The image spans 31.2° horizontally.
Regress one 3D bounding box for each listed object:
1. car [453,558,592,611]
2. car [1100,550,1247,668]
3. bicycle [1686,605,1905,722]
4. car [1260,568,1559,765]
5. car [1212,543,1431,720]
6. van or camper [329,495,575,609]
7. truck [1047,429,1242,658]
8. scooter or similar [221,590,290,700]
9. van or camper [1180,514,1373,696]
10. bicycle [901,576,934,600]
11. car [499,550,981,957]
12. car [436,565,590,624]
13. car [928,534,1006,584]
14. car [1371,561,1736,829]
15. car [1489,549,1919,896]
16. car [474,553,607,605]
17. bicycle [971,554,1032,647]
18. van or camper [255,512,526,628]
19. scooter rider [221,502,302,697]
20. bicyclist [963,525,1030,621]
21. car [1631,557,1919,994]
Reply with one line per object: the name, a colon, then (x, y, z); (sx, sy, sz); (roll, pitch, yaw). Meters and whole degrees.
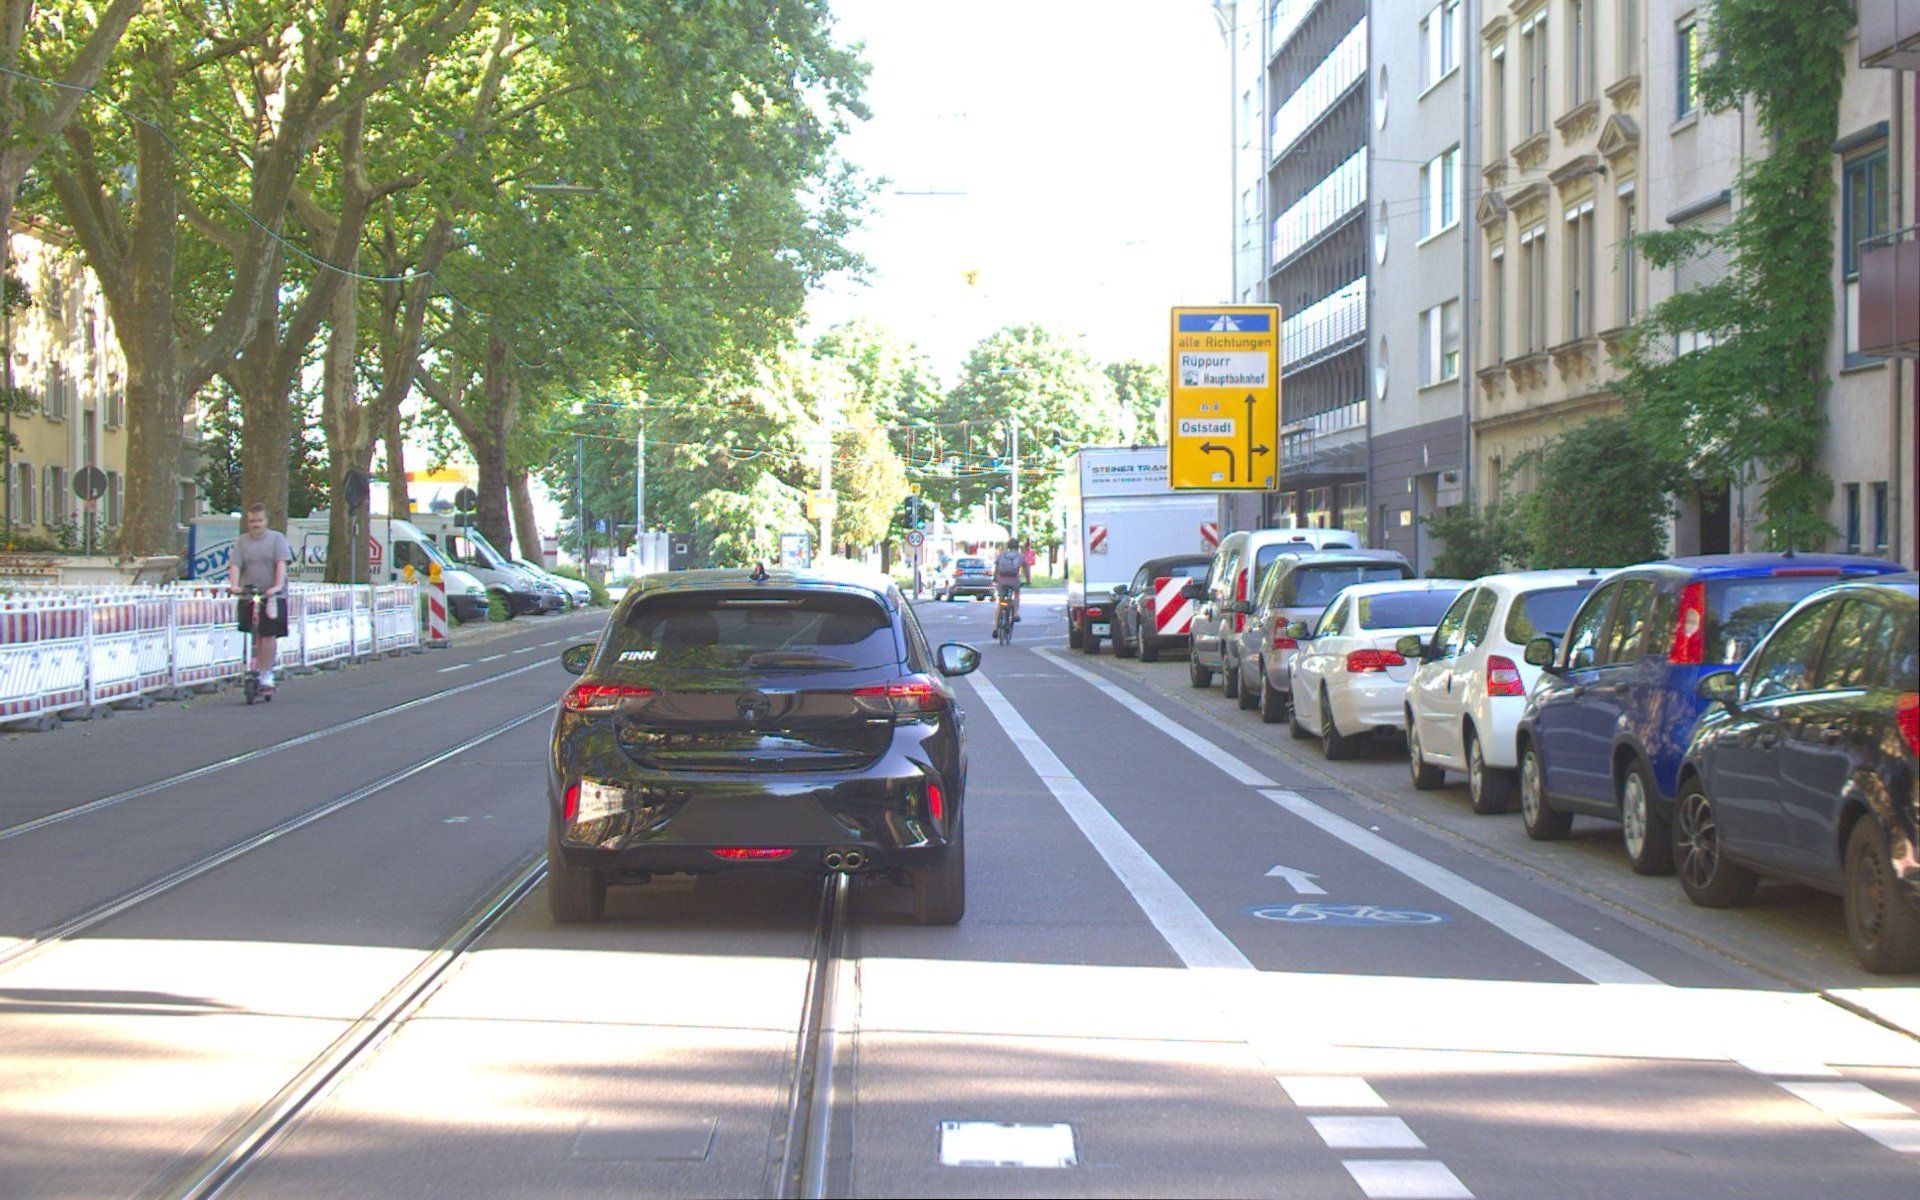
car: (-13.330, -0.472, 104.859); (3.987, 1.510, 1.650); (1, 0, 0)
car: (3.012, 0.100, 49.188); (1.730, 1.552, 4.152); (-2, 1, -1)
bicycle: (7.751, 0.585, 31.935); (1.894, 1.026, 0.476); (-1, 1, 4)
car: (3.561, 0.472, 28.017); (1.659, 1.394, 4.740); (-2, 1, -2)
car: (3.411, 0.257, 32.967); (1.660, 1.575, 3.589); (-1, 1, -1)
van or camper: (-12.588, -1.187, 85.403); (5.723, 2.635, 2.269); (1, 0, 0)
truck: (2.853, -0.886, 55.057); (2.538, 3.327, 7.195); (-2, 1, -1)
scooter or similar: (-7.138, 0.442, 34.864); (0.407, 1.079, 1.338); (1, 0, -1)
van or camper: (3.427, 0.016, 37.864); (1.669, 1.876, 4.211); (-1, 1, -1)
bicycle: (-1.777, -0.500, 145.517); (0.789, 0.988, 2.241); (2, 0, 15)
car: (-0.881, 0.549, 14.898); (1.781, 1.491, 4.000); (1, 1, -2)
car: (-12.285, -0.152, 94.681); (3.987, 1.510, 1.650); (1, 0, 0)
car: (0.219, -1.454, 120.925); (1.993, 1.690, 4.741); (-2, 1, -9)
car: (3.706, 0.542, 22.053); (1.591, 1.521, 3.835); (-2, 0, -1)
car: (3.846, 0.561, 17.902); (1.526, 1.584, 3.752); (1, 0, -1)
car: (-13.573, -0.674, 111.436); (4.167, 1.665, 1.965); (0, 1, -4)
bicycle: (0.739, -0.007, 60.202); (0.916, 1.555, 3.404); (1, 1, 3)
van or camper: (-12.551, -0.661, 75.968); (5.502, 2.371, 2.269); (1, 0, 3)
scooter rider: (-7.094, -0.005, 34.931); (0.649, 1.950, 0.624); (1, 0, -1)
bicyclist: (0.650, -0.471, 60.187); (1.089, 1.641, 1.400); (1, 1, 3)
car: (4.016, 0.577, 13.829); (1.733, 1.457, 3.916); (-2, 1, -2)
